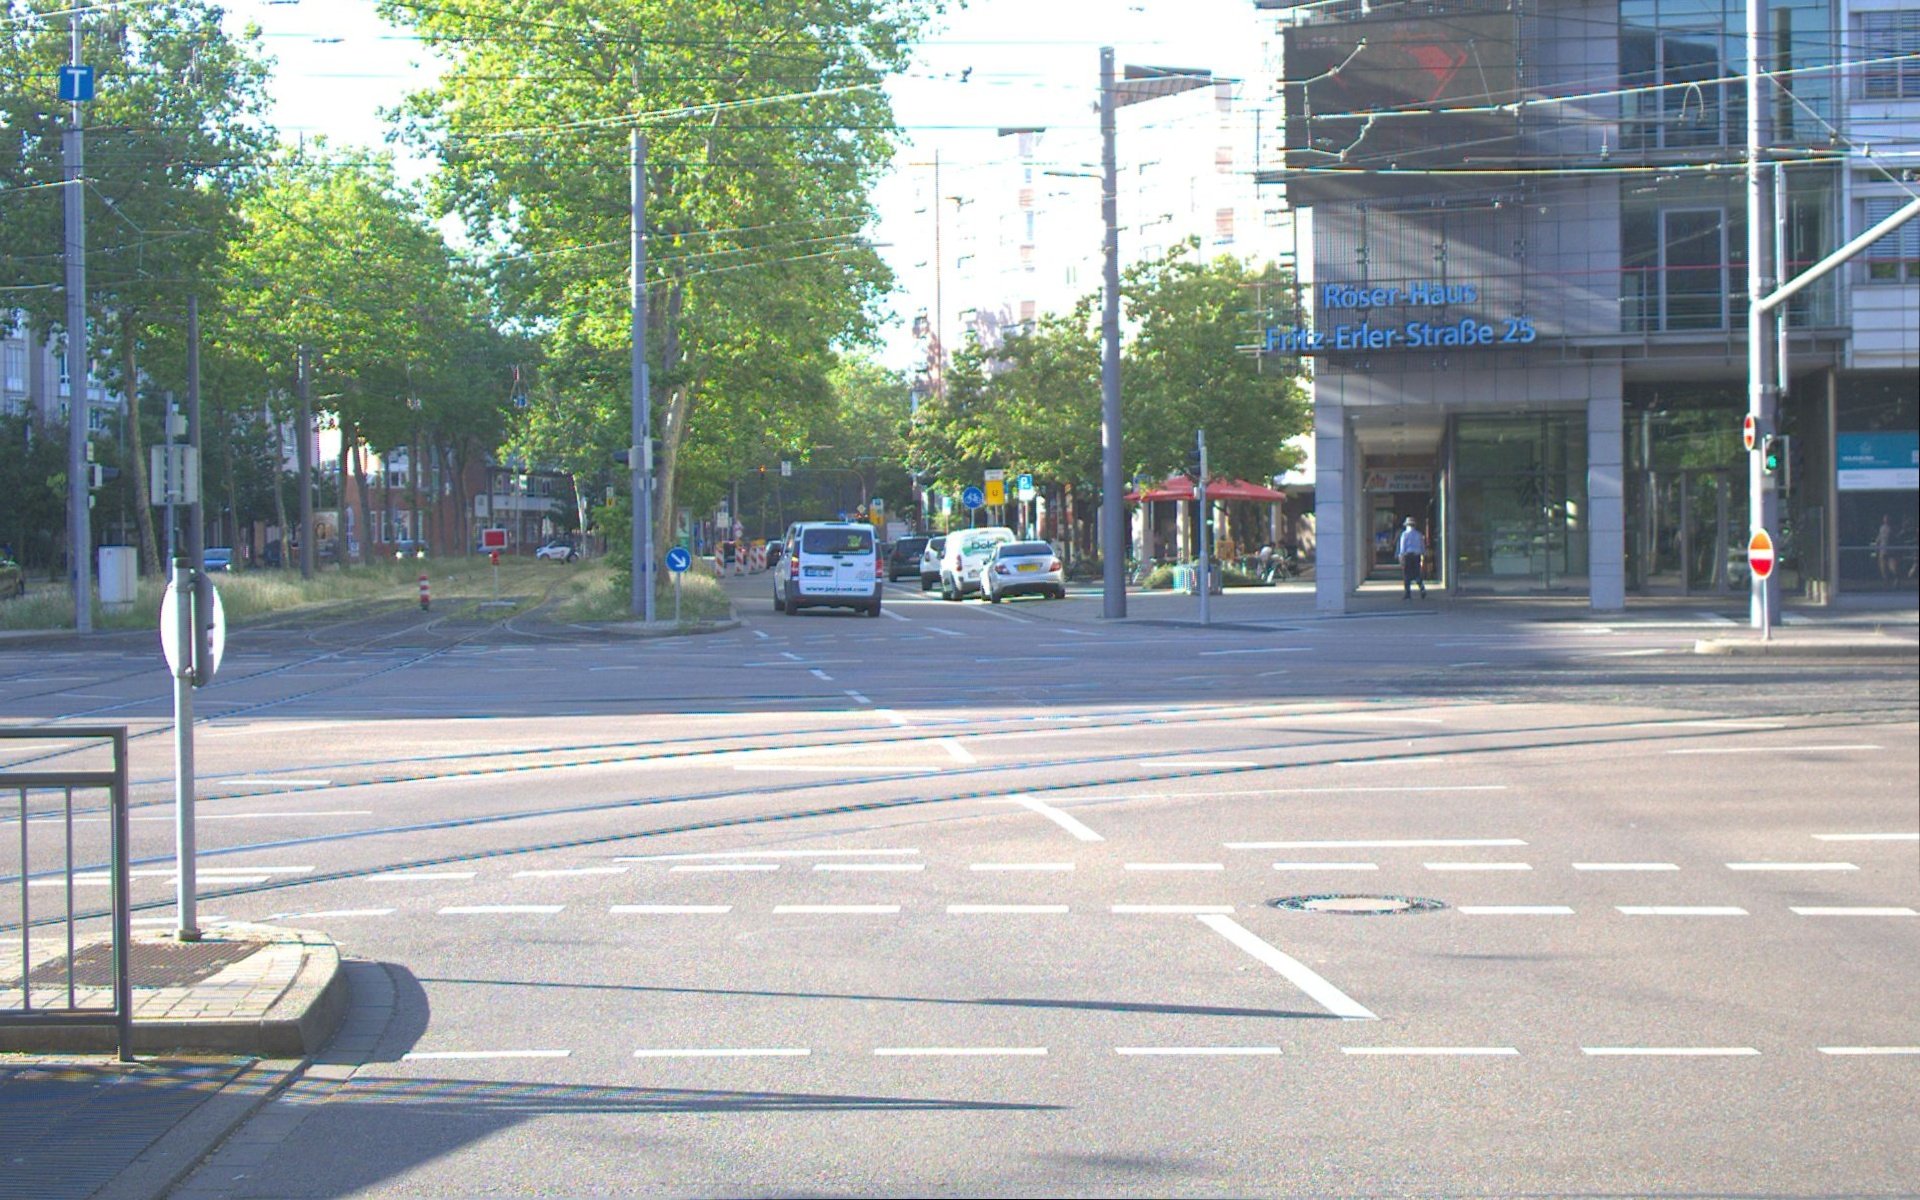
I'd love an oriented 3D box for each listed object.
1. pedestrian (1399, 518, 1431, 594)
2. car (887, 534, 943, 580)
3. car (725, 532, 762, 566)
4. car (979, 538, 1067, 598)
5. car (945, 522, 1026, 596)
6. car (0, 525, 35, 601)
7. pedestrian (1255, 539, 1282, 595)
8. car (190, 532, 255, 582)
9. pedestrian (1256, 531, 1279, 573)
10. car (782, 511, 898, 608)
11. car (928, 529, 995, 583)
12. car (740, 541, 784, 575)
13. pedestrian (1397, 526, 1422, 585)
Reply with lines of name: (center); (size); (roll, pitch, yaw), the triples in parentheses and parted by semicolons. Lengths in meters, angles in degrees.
pedestrian: (9.022, -0.878, 68.181); (0.612, 1.502, 0.579); (-1, 1, 8)
car: (-1.646, -1.593, 126.661); (1.993, 1.612, 4.000); (-1, 1, 0)
car: (-12.902, -3.051, 205.264); (1.993, 2.007, 4.000); (-1, 1, -1)
car: (1.489, -0.783, 82.770); (1.993, 1.371, 4.000); (-1, 1, -1)
car: (0.644, -1.092, 89.565); (1.993, 1.853, 4.000); (-1, 1, -1)
car: (-21.669, -0.796, 74.918); (1.993, 1.634, 4.000); (-1, 1, -1)
pedestrian: (9.414, -1.009, 105.007); (0.744, 1.708, 0.612); (-1, 1, -1)
car: (-30.215, -1.763, 140.937); (1.993, 2.007, 4.001); (-1, 1, -3)
pedestrian: (9.497, -1.485, 106.211); (0.577, 1.284, 0.910); (-1, 1, -1)
car: (-2.365, -0.835, 69.128); (1.961, 1.842, 5.330); (-1, 1, 2)
car: (0.032, -1.355, 105.211); (1.993, 1.612, 4.000); (-1, 1, 0)
car: (-8.460, -1.795, 146.907); (1.797, 1.437, 4.000); (1, 1, -2)
pedestrian: (11.488, -1.142, 87.780); (0.612, 1.502, 0.579); (-1, 1, 7)
